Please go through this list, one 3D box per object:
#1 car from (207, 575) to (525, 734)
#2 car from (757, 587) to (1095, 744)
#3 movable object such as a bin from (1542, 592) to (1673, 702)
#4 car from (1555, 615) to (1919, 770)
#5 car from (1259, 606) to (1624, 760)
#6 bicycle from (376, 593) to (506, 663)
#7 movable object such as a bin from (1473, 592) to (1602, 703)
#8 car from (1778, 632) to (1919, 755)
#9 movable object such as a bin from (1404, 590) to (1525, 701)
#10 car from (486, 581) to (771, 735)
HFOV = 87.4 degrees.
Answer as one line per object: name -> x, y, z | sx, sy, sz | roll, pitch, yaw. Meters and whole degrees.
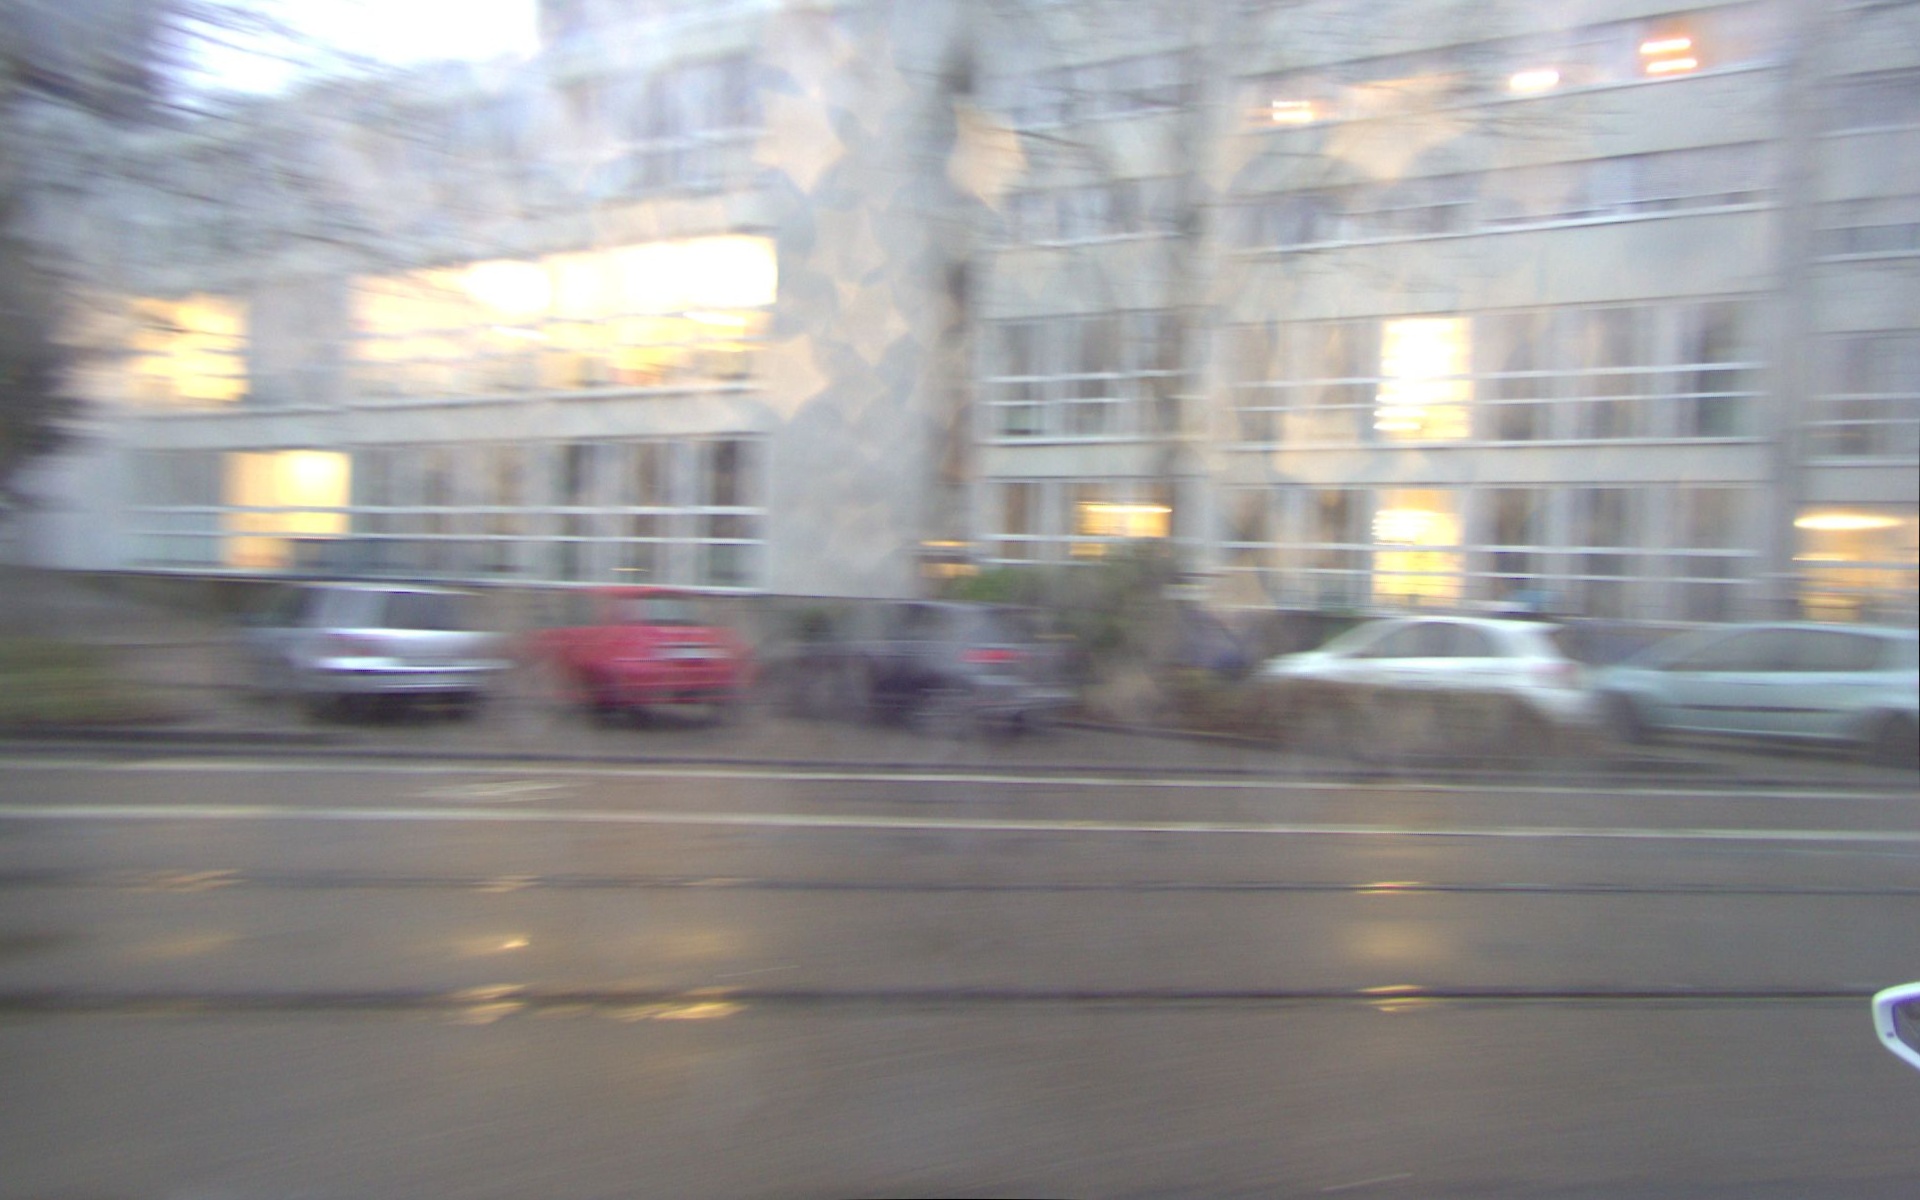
car -> -6.691, 0.488, 11.173 | 3.938, 1.465, 1.785 | 1, 0, 39
car -> -0.501, 0.638, 11.664 | 3.797, 1.512, 1.687 | 1, 0, 41
movable object such as a bin -> 11.627, 0.811, 18.102 | 1.292, 1.885, 1.574 | 0, 0, -4
car -> 9.807, 1.027, 12.420 | 3.944, 1.584, 1.727 | 1, 0, 43
car -> 5.930, 0.908, 12.599 | 3.818, 1.572, 1.685 | 1, 0, 40
bicycle -> -8.957, 0.470, 17.471 | 0.629, 1.135, 2.206 | 1, 0, 17
movable object such as a bin -> 10.304, 0.817, 18.002 | 1.367, 1.885, 1.574 | 0, 0, -4
car -> 12.815, 1.211, 12.376 | 1.722, 1.463, 3.956 | 3, -1, -38
movable object such as a bin -> 8.938, 0.786, 17.877 | 1.292, 1.885, 1.574 | 0, 0, -4
car -> -3.921, 0.567, 11.659 | 3.403, 1.512, 1.720 | 1, 0, 43
